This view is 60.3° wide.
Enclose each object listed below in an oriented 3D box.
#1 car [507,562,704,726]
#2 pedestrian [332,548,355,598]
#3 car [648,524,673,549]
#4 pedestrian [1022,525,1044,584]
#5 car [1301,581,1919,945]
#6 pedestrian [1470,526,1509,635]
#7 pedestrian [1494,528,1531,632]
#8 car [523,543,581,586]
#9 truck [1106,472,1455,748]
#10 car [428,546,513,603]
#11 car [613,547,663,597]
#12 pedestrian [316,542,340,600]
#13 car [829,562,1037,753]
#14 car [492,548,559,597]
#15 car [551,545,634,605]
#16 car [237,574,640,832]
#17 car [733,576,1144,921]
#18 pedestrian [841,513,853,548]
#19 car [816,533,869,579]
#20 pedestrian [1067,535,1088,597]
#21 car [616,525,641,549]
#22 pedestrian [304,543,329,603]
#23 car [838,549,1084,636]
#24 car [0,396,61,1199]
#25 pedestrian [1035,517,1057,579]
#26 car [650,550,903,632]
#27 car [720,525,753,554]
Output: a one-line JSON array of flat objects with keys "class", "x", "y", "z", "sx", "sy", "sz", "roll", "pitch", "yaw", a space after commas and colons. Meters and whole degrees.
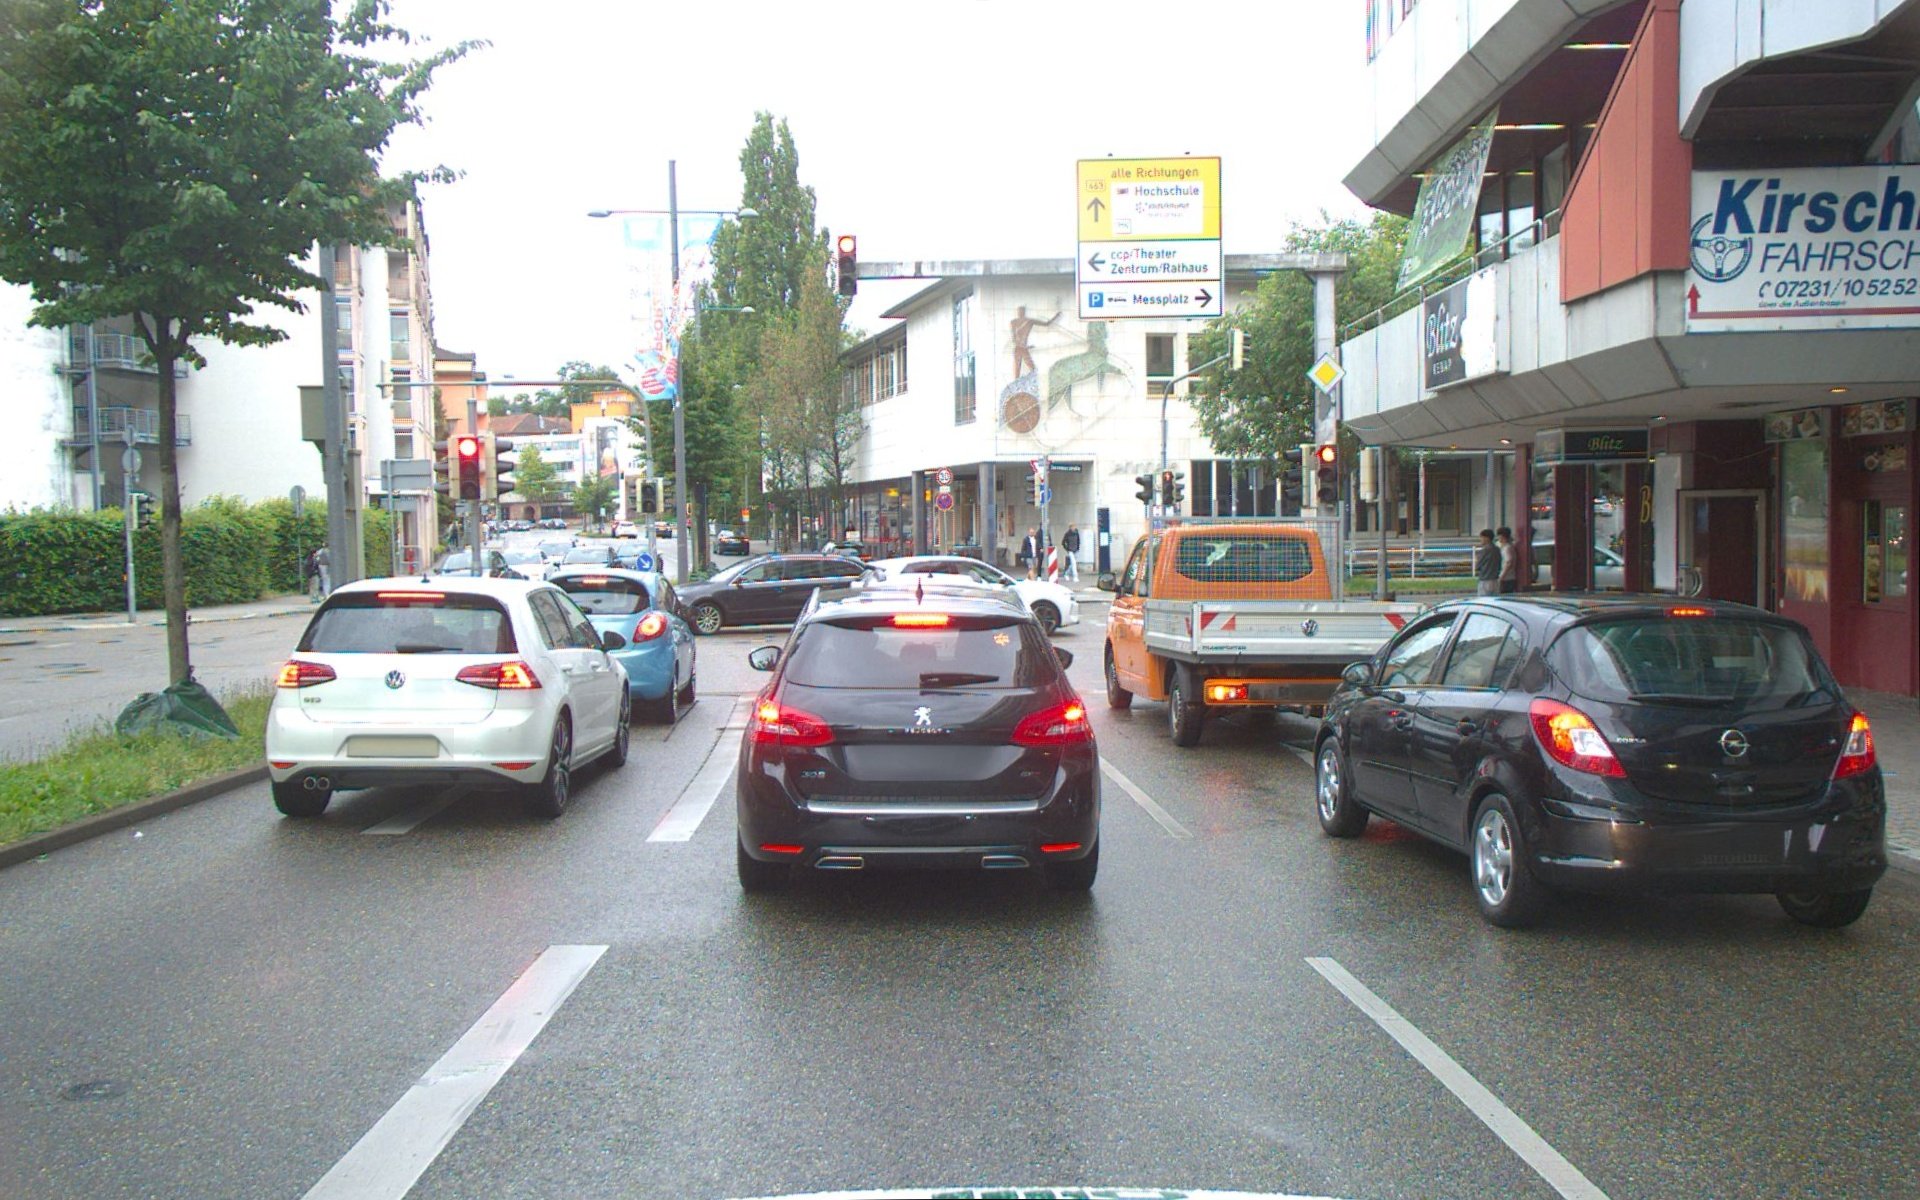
[{"class": "car", "x": -3.612, "y": 0.377, "z": 17.383, "sx": 1.601, "sy": 1.512, "sz": 3.606, "roll": 1, "pitch": 2, "yaw": -6}, {"class": "pedestrian", "x": -20.658, "y": -0.897, "z": 55.431, "sx": 0.569, "sy": 1.627, "sz": 0.526, "roll": 1, "pitch": -1, "yaw": -7}, {"class": "car", "x": -26.612, "y": -5.597, "z": 146.809, "sx": 1.679, "sy": 1.970, "sz": 3.980, "roll": 1, "pitch": -1, "yaw": -18}, {"class": "pedestrian", "x": 2.255, "y": -1.399, "z": 51.077, "sx": 0.623, "sy": 1.788, "sz": 0.734, "roll": 1, "pitch": -1, "yaw": 6}, {"class": "car", "x": 3.094, "y": 0.647, "z": 8.684, "sx": 1.584, "sy": 1.454, "sz": 3.839, "roll": 1, "pitch": 1, "yaw": -4}, {"class": "pedestrian", "x": 8.444, "y": -0.300, "z": 26.377, "sx": 0.417, "sy": 1.712, "sz": 0.450, "roll": -1, "pitch": -1, "yaw": -2}, {"class": "pedestrian", "x": 8.946, "y": -0.319, "z": 26.785, "sx": 0.388, "sy": 1.668, "sz": 0.504, "roll": -1, "pitch": -1, "yaw": 0}, {"class": "car", "x": -14.936, "y": -1.315, "z": 60.648, "sx": 1.602, "sy": 1.512, "sz": 3.605, "roll": 1, "pitch": 2, "yaw": -7}, {"class": "truck", "x": 2.824, "y": 0.018, "z": 15.894, "sx": 2.133, "sy": 2.210, "sz": 5.018, "roll": 1, "pitch": 2, "yaw": -3}, {"class": "car", "x": -13.806, "y": -0.744, "z": 46.846, "sx": 1.543, "sy": 1.512, "sz": 3.607, "roll": 1, "pitch": 2, "yaw": -4}, {"class": "car", "x": -11.617, "y": -0.990, "z": 59.740, "sx": 1.713, "sy": 1.669, "sz": 3.989, "roll": 1, "pitch": -1, "yaw": -11}, {"class": "pedestrian", "x": -19.589, "y": -0.885, "z": 51.303, "sx": 0.528, "sy": 1.778, "sz": 0.564, "roll": 1, "pitch": -1, "yaw": -6}, {"class": "car", "x": -0.248, "y": 0.420, "z": 15.266, "sx": 1.662, "sy": 1.512, "sz": 3.793, "roll": 1, "pitch": 2, "yaw": -1}, {"class": "car", "x": -14.115, "y": -0.923, "z": 53.868, "sx": 1.602, "sy": 1.512, "sz": 3.605, "roll": 1, "pitch": 2, "yaw": -7}, {"class": "car", "x": -10.556, "y": -0.687, "z": 47.754, "sx": 1.710, "sy": 1.607, "sz": 3.996, "roll": 1, "pitch": -1, "yaw": -4}, {"class": "car", "x": -3.344, "y": 0.562, "z": 11.369, "sx": 1.742, "sy": 1.454, "sz": 3.840, "roll": 1, "pitch": 1, "yaw": -4}, {"class": "car", "x": -0.167, "y": 0.612, "z": 8.988, "sx": 1.742, "sy": 1.454, "sz": 3.840, "roll": 1, "pitch": 1, "yaw": -2}, {"class": "pedestrian", "x": -5.973, "y": -3.658, "z": 87.283, "sx": 0.461, "sy": 1.778, "sz": 0.537, "roll": 1, "pitch": -1, "yaw": -21}, {"class": "car", "x": -4.316, "y": -1.628, "z": 60.178, "sx": 1.753, "sy": 1.479, "sz": 4.502, "roll": -3, "pitch": 3, "yaw": -6}, {"class": "pedestrian", "x": 3.709, "y": -1.060, "z": 52.365, "sx": 0.623, "sy": 1.930, "sz": 0.734, "roll": 1, "pitch": -1, "yaw": 6}, {"class": "car", "x": -29.176, "y": -5.551, "z": 145.593, "sx": 1.679, "sy": 1.915, "sz": 3.980, "roll": 1, "pitch": -1, "yaw": -18}, {"class": "pedestrian", "x": -19.363, "y": -0.798, "z": 49.798, "sx": 0.529, "sy": 1.778, "sz": 0.746, "roll": 1, "pitch": -1, "yaw": -9}, {"class": "car", "x": -0.001, "y": -0.142, "z": 30.092, "sx": 4.221, "sy": 1.512, "sz": 1.632, "roll": 0, "pitch": 1, "yaw": -15}, {"class": "car", "x": -3.040, "y": 0.448, "z": 1.410, "sx": 1.873, "sy": 1.903, "sz": 5.071, "roll": 1, "pitch": -1, "yaw": -2}, {"class": "pedestrian", "x": 2.734, "y": -1.637, "z": 52.468, "sx": 0.623, "sy": 1.930, "sz": 0.734, "roll": 1, "pitch": -1, "yaw": 6}, {"class": "car", "x": -3.555, "y": -0.181, "z": 32.101, "sx": 4.654, "sy": 1.512, "sz": 1.628, "roll": 0, "pitch": 1, "yaw": -21}, {"class": "car", "x": -13.597, "y": -3.666, "z": 100.557, "sx": 1.694, "sy": 1.516, "sz": 4.719, "roll": 1, "pitch": -1, "yaw": -11}]
